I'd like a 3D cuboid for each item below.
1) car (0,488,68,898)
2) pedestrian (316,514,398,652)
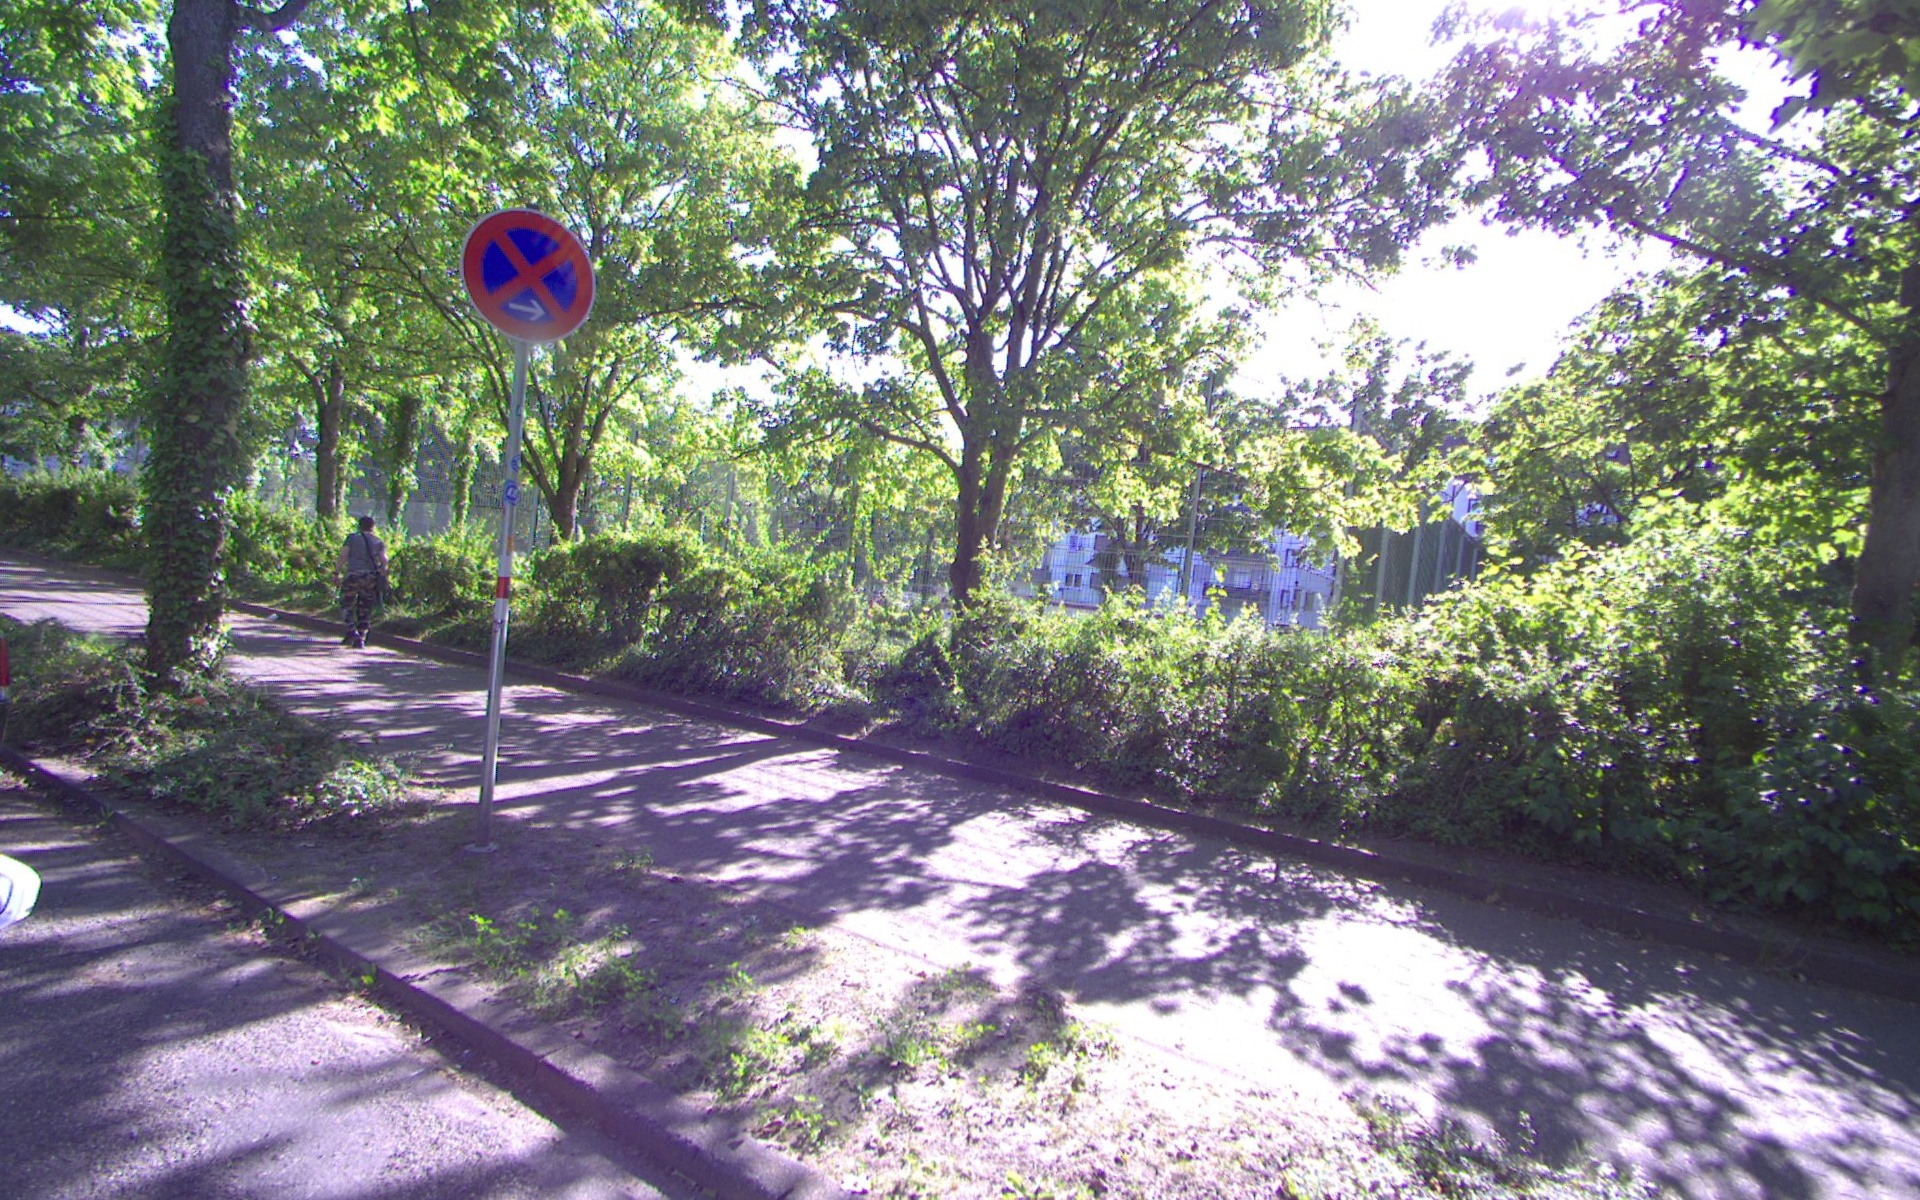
[{"bbox_3d":[-5.521,0.116,4.206,3.968,1.498,1.749,6,-1,36],"label":"car"},{"bbox_3d":[-7.555,-0.211,12.605,0.662,1.628,0.570,7,0,43],"label":"pedestrian"}]
